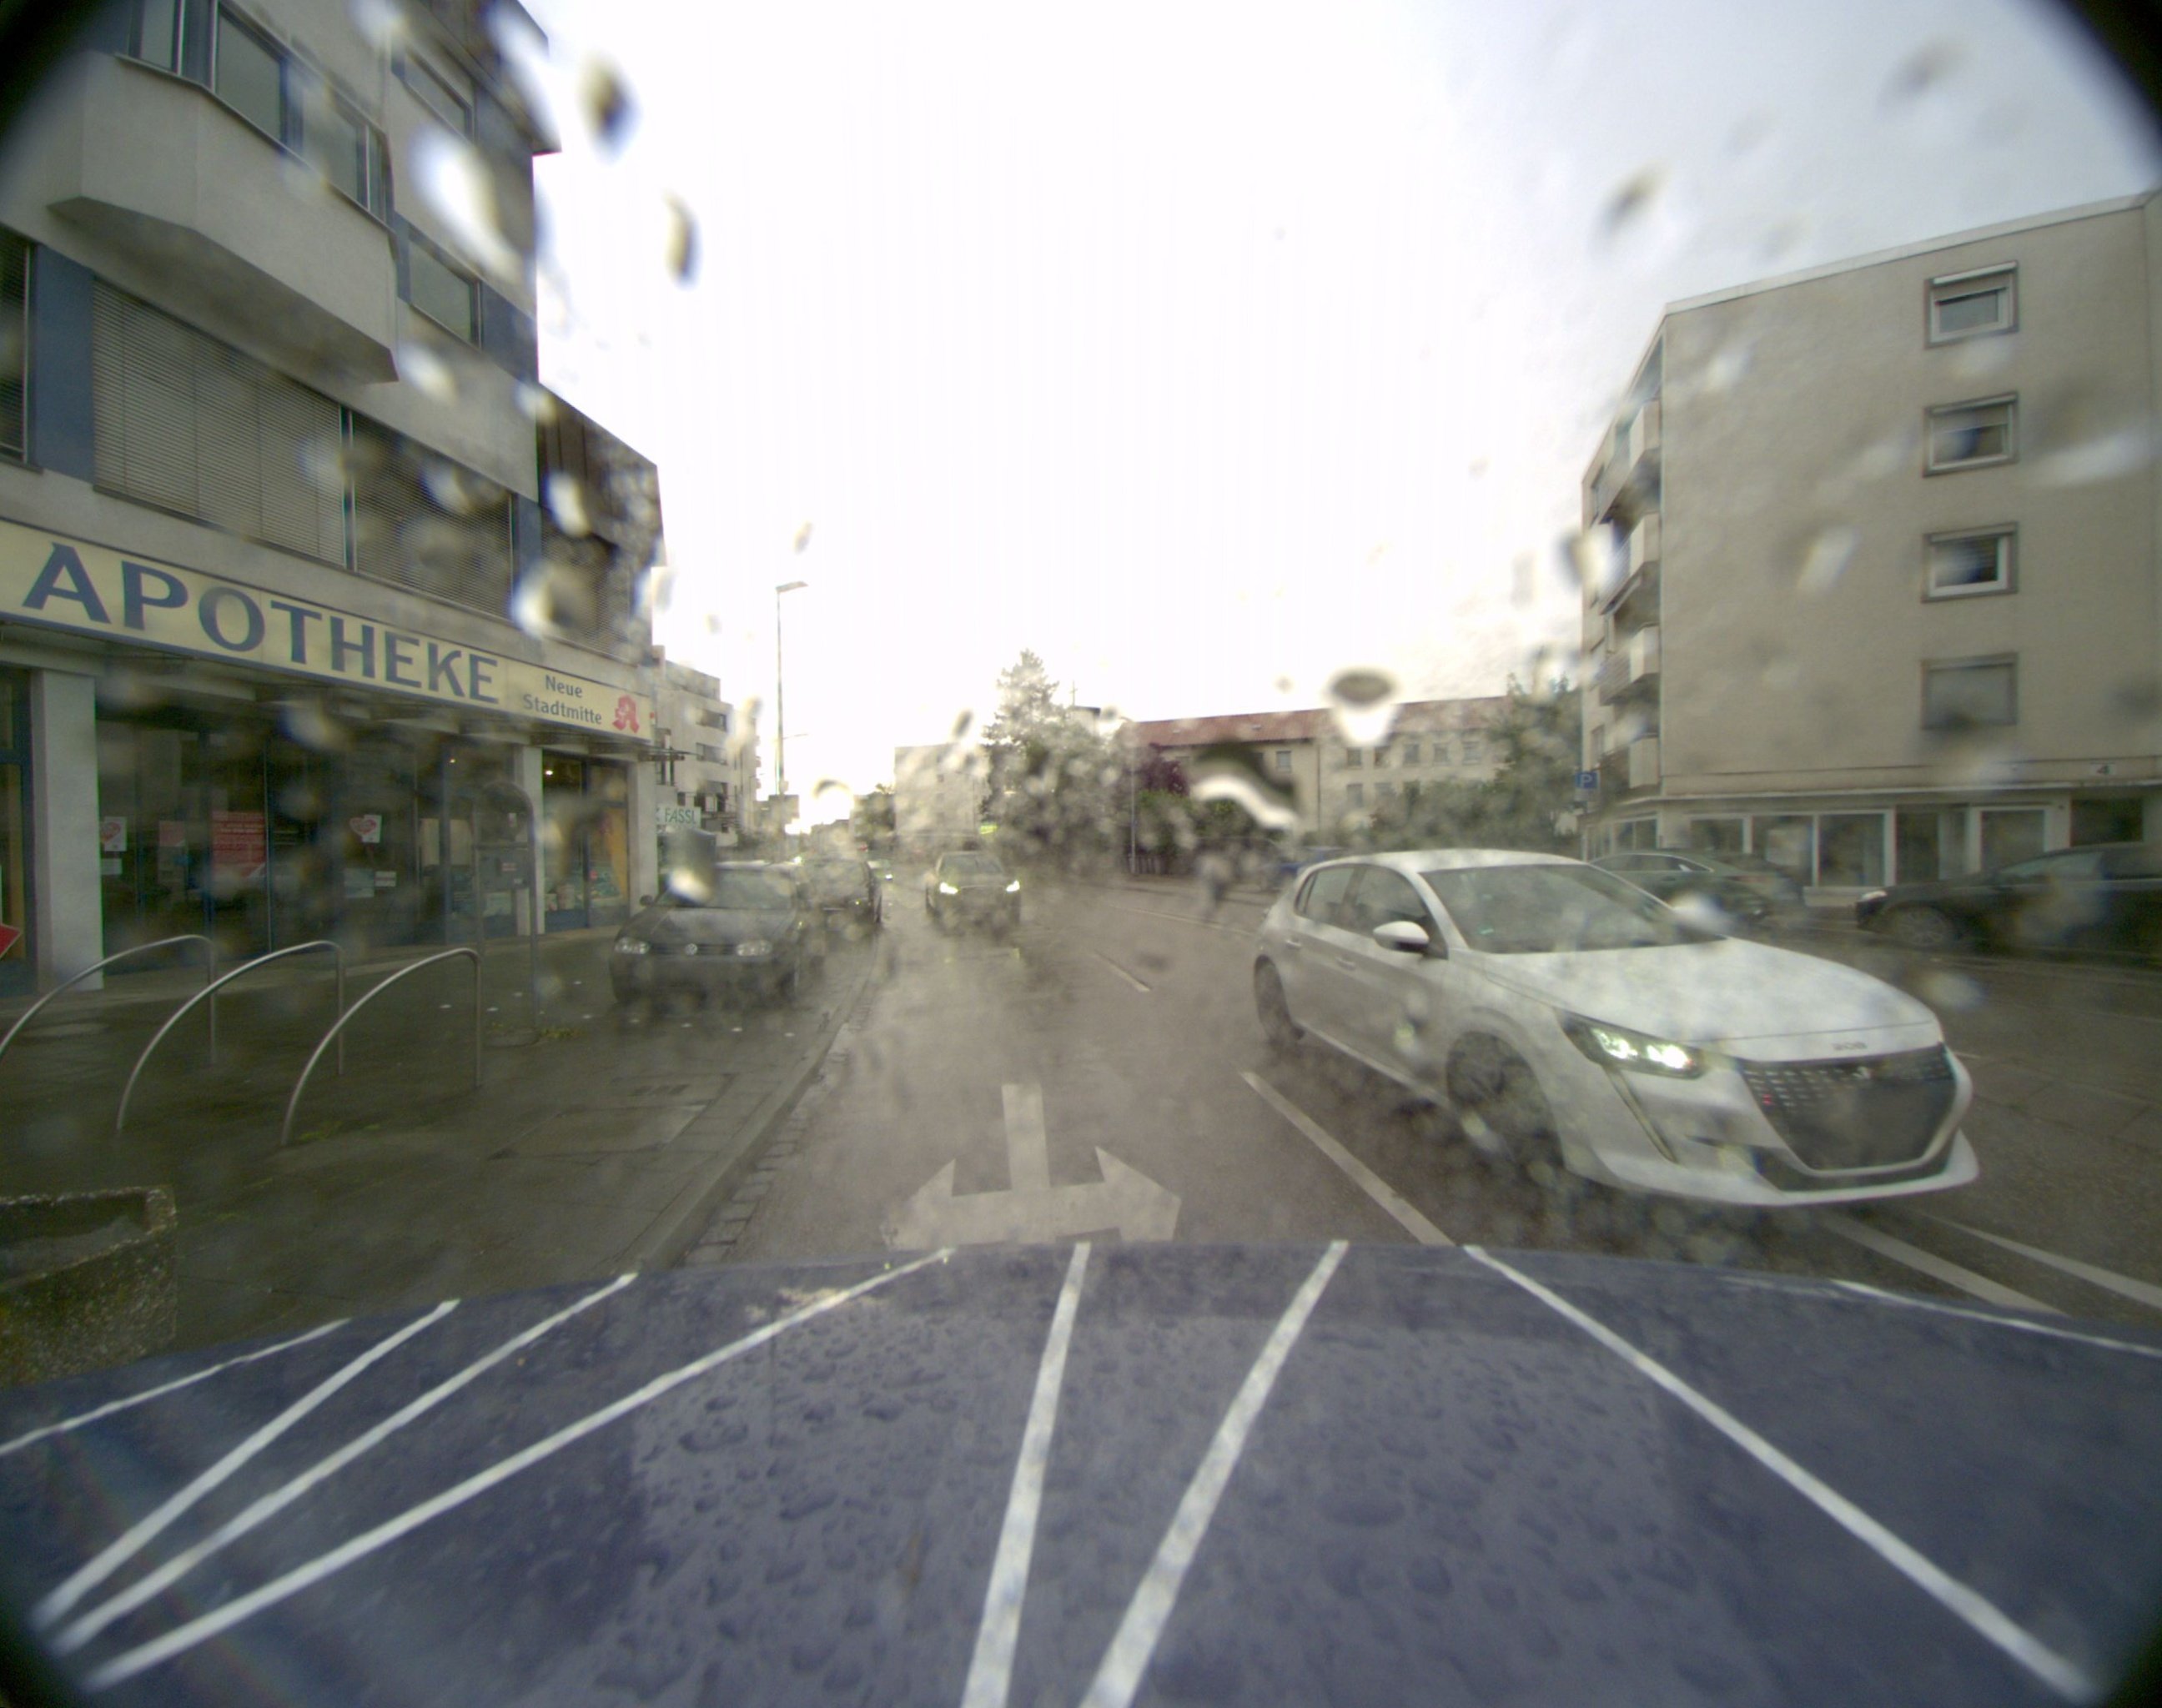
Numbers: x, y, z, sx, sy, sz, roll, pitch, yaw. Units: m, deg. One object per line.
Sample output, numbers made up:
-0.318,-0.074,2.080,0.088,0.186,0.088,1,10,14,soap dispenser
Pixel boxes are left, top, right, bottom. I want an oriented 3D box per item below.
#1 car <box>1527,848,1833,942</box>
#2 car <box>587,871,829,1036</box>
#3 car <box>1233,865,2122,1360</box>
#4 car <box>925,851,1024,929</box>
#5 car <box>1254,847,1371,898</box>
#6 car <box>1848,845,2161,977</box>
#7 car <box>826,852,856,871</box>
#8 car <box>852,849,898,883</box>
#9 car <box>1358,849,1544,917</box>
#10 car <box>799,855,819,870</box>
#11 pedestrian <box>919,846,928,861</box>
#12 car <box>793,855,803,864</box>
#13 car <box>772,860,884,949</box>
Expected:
11.157,0.646,14.568,1.839,1.426,4.266,-2,2,-21,car
-3.994,0.950,8.787,1.656,1.364,3.727,1,0,-12,car
2.436,0.834,4.418,1.744,1.401,3.892,-3,1,-9,car
-2.542,0.706,17.338,1.736,1.436,4.040,-2,2,-15,car
7.445,0.535,24.783,1.636,1.497,3.873,-1,1,-20,car
12.931,0.641,9.600,1.839,1.451,4.180,-2,2,-21,car
-18.813,0.536,59.375,1.804,1.361,3.964,-1,2,-24,car
-10.017,0.536,36.771,1.736,1.519,4.056,-1,0,-21,car
9.278,0.630,19.494,1.639,1.491,4.338,-1,1,-21,car
-30.633,0.936,85.500,2.002,1.606,3.993,-3,1,-20,car
-19.204,-0.064,92.523,0.857,1.726,0.834,-1,2,-29,pedestrian
-51.180,0.955,137.423,1.747,1.630,3.992,-1,1,-21,car
-4.790,0.859,14.858,1.660,1.416,3.995,-1,1,-12,car
